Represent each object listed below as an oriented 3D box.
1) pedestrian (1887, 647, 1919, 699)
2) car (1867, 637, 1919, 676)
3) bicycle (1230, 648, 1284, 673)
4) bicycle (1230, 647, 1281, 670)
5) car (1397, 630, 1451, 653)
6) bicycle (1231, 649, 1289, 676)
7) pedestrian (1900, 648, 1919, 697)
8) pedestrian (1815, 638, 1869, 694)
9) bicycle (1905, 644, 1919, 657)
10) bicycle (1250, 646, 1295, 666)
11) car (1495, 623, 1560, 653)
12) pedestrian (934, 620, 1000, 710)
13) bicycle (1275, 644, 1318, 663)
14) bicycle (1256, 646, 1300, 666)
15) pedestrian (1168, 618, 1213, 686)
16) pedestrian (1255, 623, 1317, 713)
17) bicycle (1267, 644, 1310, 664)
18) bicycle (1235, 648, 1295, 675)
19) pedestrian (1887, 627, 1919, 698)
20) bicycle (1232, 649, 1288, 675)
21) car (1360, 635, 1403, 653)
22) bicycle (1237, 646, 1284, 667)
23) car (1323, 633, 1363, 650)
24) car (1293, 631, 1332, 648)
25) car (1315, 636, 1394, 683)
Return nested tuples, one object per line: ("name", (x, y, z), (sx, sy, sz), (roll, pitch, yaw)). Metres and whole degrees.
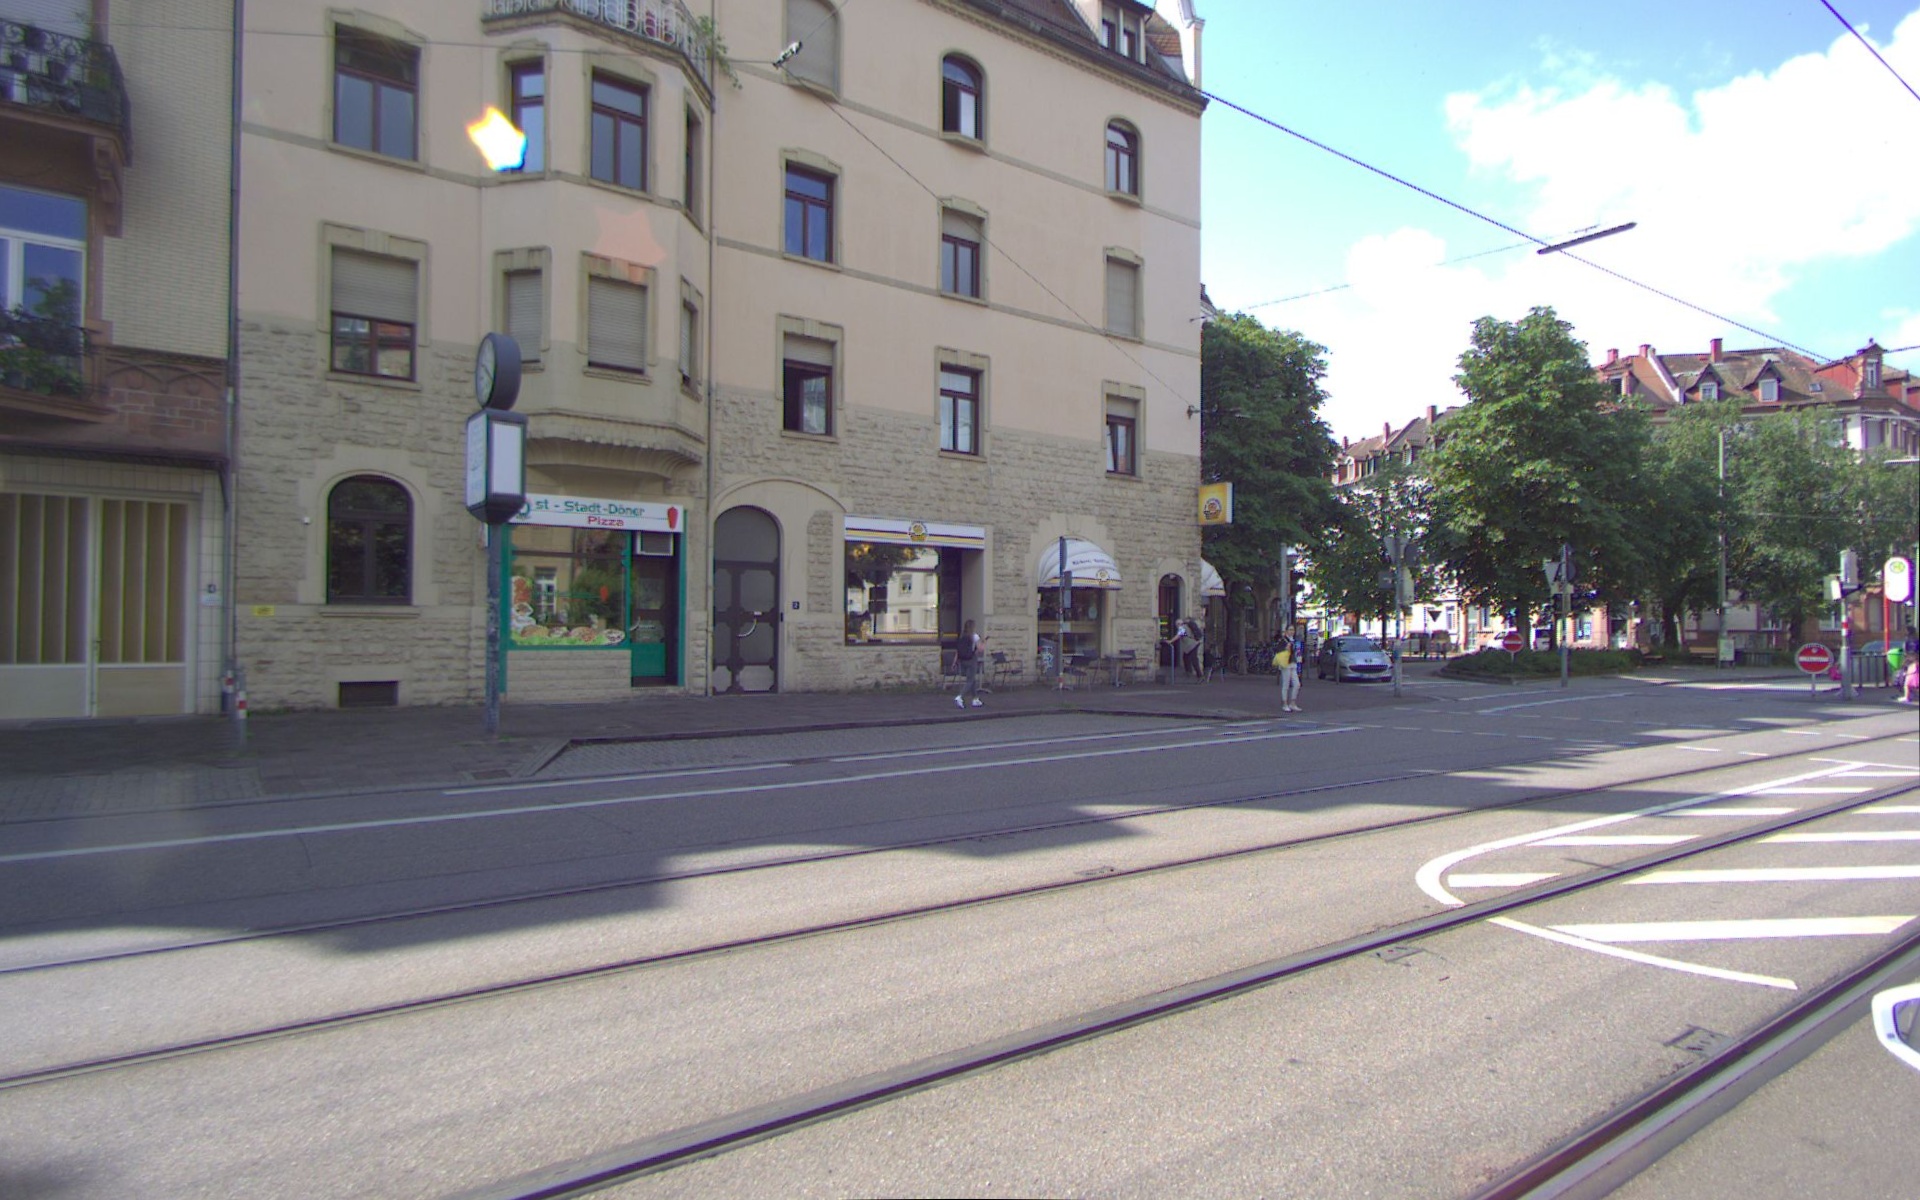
("pedestrian", (21.183, 1.623, 22.437), (0.440, 1.128, 0.636), (2, -2, -38))
("car", (35.325, 2.085, 37.392), (3.402, 1.405, 1.614), (1, -3, -36))
("bicycle", (11.688, 2.381, 39.559), (1.990, 0.894, 0.512), (1, -1, 12))
("bicycle", (12.119, 2.396, 41.223), (1.990, 0.894, 0.547), (1, -1, 12))
("car", (36.272, 3.239, 78.586), (1.882, 1.685, 3.933), (1, -2, -11))
("bicycle", (11.057, 2.295, 37.047), (1.990, 0.894, 0.512), (1, -1, 12))
("pedestrian", (22.117, 1.677, 23.226), (0.419, 1.122, 0.434), (2, -4, -38))
("pedestrian", (21.344, 1.596, 24.305), (0.711, 1.320, 0.819), (2, -4, -38))
("bicycle", (59.653, 3.141, 62.299), (1.677, 0.757, 0.386), (0, -1, 2))
("bicycle", (15.013, 2.696, 48.321), (1.993, 0.910, 0.571), (1, -2, 26))
("car", (38.896, 2.592, 68.971), (1.823, 2.015, 3.941), (1, -2, -10))
("pedestrian", (0.135, 1.164, 18.470), (0.686, 1.562, 0.958), (4, 2, 42))
("bicycle", (17.188, 2.712, 51.265), (1.994, 0.910, 0.571), (1, -2, 29))
("bicycle", (15.675, 2.757, 49.504), (1.994, 0.910, 0.571), (1, -2, 29))
("pedestrian", (5.895, 1.321, 25.676), (0.810, 1.694, 0.853), (-1, -2, 43))
("pedestrian", (6.607, 1.360, 20.394), (0.865, 1.727, 0.751), (1, 2, -35))
("bicycle", (16.554, 2.723, 50.618), (1.994, 0.910, 0.571), (1, -2, 29))
("bicycle", (10.820, 2.183, 35.718), (1.990, 0.894, 0.523), (1, -1, 12))
("pedestrian", (21.659, 1.404, 22.851), (0.792, 1.586, 0.722), (2, -2, -39))
("bicycle", (11.420, 2.361, 38.232), (1.990, 0.894, 0.512), (1, -1, 12))
("car", (35.235, 3.664, 84.006), (1.468, 1.411, 3.686), (1, -2, -13))
("bicycle", (13.652, 2.556, 45.601), (1.992, 0.910, 0.546), (1, -2, 22))
("car", (34.050, 3.677, 89.343), (1.602, 1.513, 3.638), (1, -2, -13))
("car", (33.008, 3.720, 94.052), (1.687, 1.575, 3.912), (1, -2, -12))
("car", (13.050, 1.936, 33.440), (1.686, 1.439, 3.876), (0, -2, 9))
